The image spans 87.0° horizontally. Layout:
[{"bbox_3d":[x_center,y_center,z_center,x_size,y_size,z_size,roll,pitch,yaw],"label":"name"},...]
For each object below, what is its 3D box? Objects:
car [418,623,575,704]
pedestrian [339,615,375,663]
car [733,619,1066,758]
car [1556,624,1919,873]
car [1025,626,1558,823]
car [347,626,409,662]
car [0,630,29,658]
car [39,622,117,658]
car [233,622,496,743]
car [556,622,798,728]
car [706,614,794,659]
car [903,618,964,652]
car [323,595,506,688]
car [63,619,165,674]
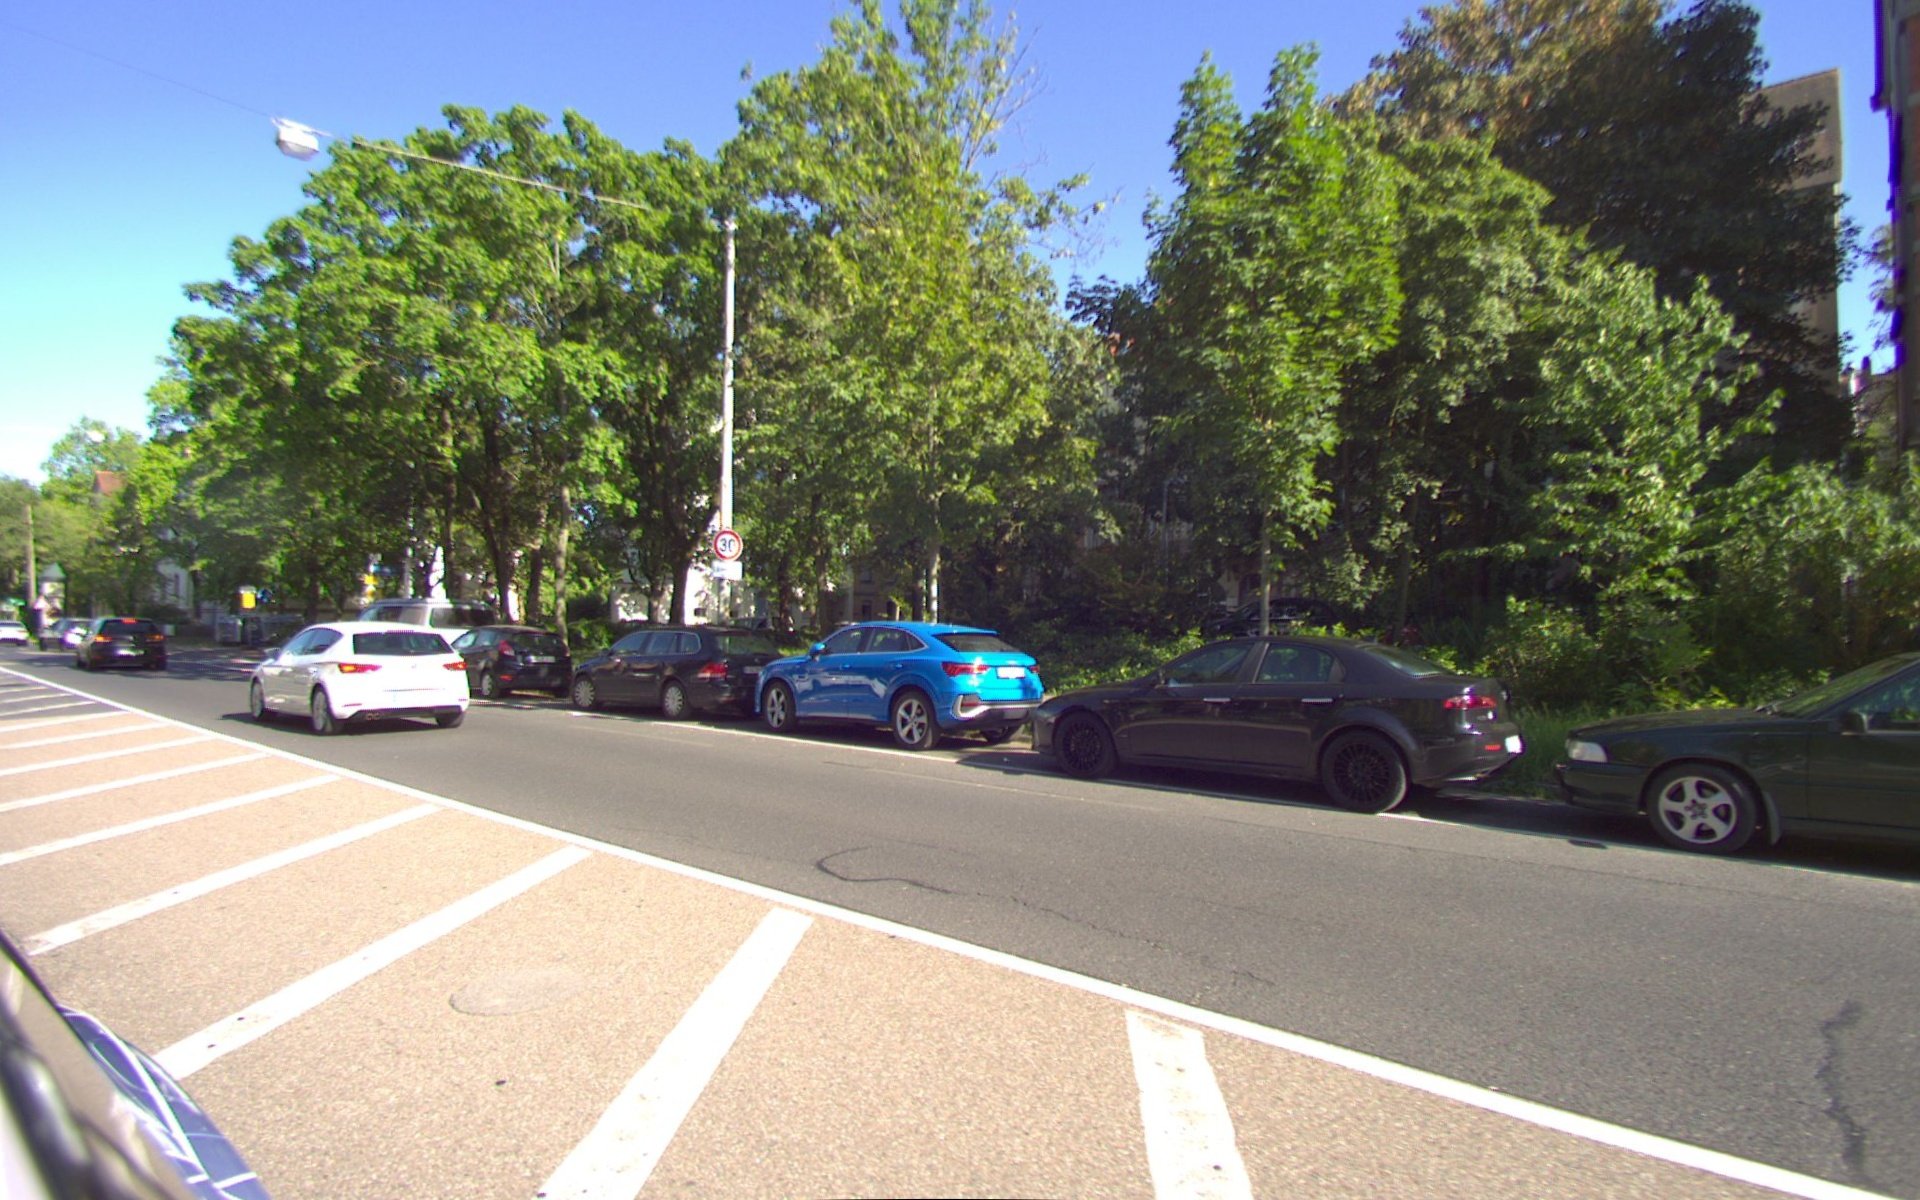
[{"bbox_3d":[-9.699,1.270,21.054,3.957,1.513,1.448,-1,-3,41],"label":"car"},{"bbox_3d":[-22.747,1.467,38.176,0.817,1.768,0.863,-1,-2,30],"label":"pedestrian"},{"bbox_3d":[-0.951,1.071,13.538,4.558,1.550,1.761,-1,-4,43],"label":"car"},{"bbox_3d":[6.568,0.920,6.364,4.659,1.468,1.676,-1,-4,40],"label":"car"},{"bbox_3d":[2.893,0.991,9.447,4.403,1.424,1.762,-1,-4,41],"label":"car"},{"bbox_3d":[-28.938,2.180,50.224,1.864,1.701,4.707,3,-3,-39],"label":"car"},{"bbox_3d":[-53.846,2.439,56.961,4.713,1.505,1.784,-2,-3,43],"label":"car"},{"bbox_3d":[-38.987,1.765,44.725,3.774,1.502,1.821,-1,-3,37],"label":"car"},{"bbox_3d":[-8.432,1.041,14.192,4.222,1.430,1.898,-1,-2,41],"label":"car"},{"bbox_3d":[-4.726,1.152,16.609,4.266,1.493,1.575,0,-3,38],"label":"car"},{"bbox_3d":[-11.055,1.934,53.091,4.915,2.263,1.868,-1,-3,41],"label":"car"},{"bbox_3d":[-2.192,2.857,81.895,4.914,2.643,1.869,-1,-3,40],"label":"car"},{"bbox_3d":[-13.226,1.008,24.409,4.867,2.052,1.965,-1,-5,37],"label":"car"},{"bbox_3d":[-24.305,1.311,29.030,4.131,1.461,1.576,-1,-3,41],"label":"car"}]
